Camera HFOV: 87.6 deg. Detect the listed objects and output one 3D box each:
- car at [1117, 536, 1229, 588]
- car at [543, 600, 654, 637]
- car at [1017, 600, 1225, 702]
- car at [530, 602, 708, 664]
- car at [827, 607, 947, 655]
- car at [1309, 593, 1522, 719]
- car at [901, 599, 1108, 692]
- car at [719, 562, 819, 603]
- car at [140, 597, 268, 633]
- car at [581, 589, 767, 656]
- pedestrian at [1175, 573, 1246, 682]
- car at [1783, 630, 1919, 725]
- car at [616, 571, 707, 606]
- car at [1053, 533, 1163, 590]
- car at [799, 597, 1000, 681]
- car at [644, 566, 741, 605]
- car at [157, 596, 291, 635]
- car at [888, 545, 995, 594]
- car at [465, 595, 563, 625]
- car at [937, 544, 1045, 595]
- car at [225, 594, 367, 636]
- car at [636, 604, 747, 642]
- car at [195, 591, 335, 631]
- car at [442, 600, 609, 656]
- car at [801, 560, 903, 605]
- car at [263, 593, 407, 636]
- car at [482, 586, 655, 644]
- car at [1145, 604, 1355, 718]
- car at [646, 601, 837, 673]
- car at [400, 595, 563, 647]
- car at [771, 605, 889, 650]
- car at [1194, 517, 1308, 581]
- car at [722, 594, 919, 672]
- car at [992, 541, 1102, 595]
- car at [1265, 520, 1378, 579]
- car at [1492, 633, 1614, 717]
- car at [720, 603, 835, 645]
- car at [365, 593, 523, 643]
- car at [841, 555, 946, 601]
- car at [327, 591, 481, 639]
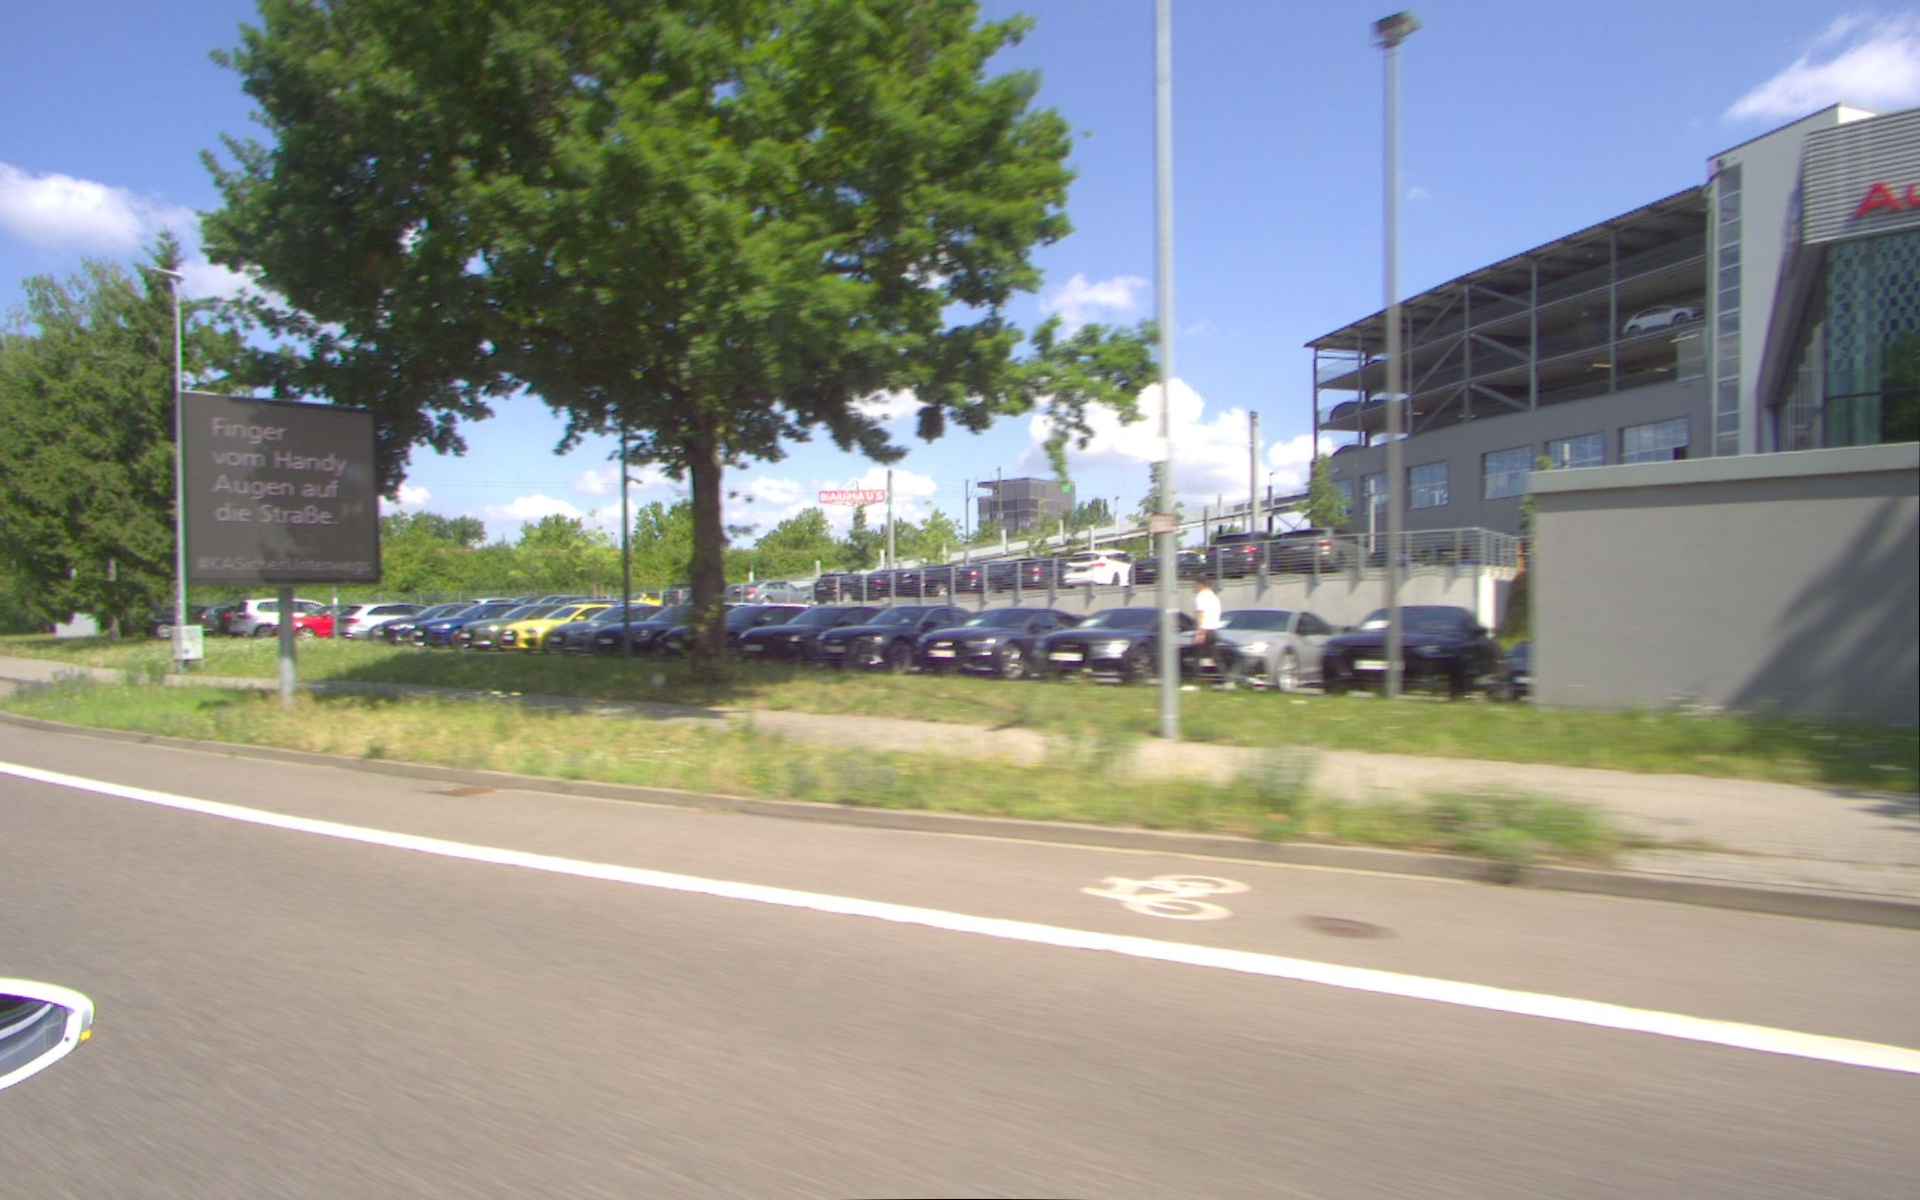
[{"bbox_3d":[7.362,-1.265,34.396,1.912,1.572,4.335,2,1,40],"label":"car"},{"bbox_3d":[-16.024,0.778,44.541,1.883,1.518,4.330,0,0,37],"label":"car"},{"bbox_3d":[2.994,0.822,17.873,1.910,1.533,4.341,2,1,36],"label":"car"},{"bbox_3d":[-9.292,0.859,27.599,1.910,1.533,4.341,2,1,36],"label":"car"},{"bbox_3d":[-2.516,1.050,35.472,1.883,1.518,4.330,0,0,37],"label":"car"},{"bbox_3d":[6.849,0.716,14.787,1.886,1.533,4.339,2,1,38],"label":"car"},{"bbox_3d":[0.974,0.793,19.341,1.910,1.533,4.341,2,1,36],"label":"car"},{"bbox_3d":[-8.901,-0.807,46.898,1.912,1.798,4.335,2,1,40],"label":"car"},{"bbox_3d":[-34.755,0.679,46.126,1.910,1.533,4.341,2,1,36],"label":"car"},{"bbox_3d":[-7.248,0.553,25.741,1.910,1.533,4.341,2,1,36],"label":"car"},{"bbox_3d":[3.546,0.377,14.183,0.762,1.479,0.631,2,1,36],"label":"pedestrian"},{"bbox_3d":[17.423,1.409,19.566,1.883,1.518,4.330,0,0,37],"label":"car"},{"bbox_3d":[-16.106,-0.612,54.179,1.912,1.798,4.335,2,1,40],"label":"car"},{"bbox_3d":[5.366,-1.332,35.922,1.912,1.798,4.335,2,1,40],"label":"car"},{"bbox_3d":[-1.154,0.759,21.080,1.910,1.533,4.341,2,1,36],"label":"car"},{"bbox_3d":[-13.243,-0.683,49.820,1.912,1.798,4.335,2,1,40],"label":"car"},{"bbox_3d":[-31.946,0.656,43.576,1.910,1.533,4.341,2,1,36],"label":"car"},{"bbox_3d":[-0.693,-1.196,40.407,1.912,1.798,4.335,2,1,40],"label":"car"},{"bbox_3d":[-23.323,0.500,52.447,1.883,1.518,4.330,0,0,37],"label":"car"},{"bbox_3d":[1.253,-1.150,39.063,1.912,1.798,4.335,2,1,40],"label":"car"},{"bbox_3d":[-26.335,0.599,39.832,1.910,1.533,4.341,2,1,36],"label":"car"},{"bbox_3d":[-11.377,0.940,42.690,1.883,1.518,4.330,0,0,37],"label":"car"},{"bbox_3d":[-28.497,0.454,41.177,1.910,1.533,4.341,2,1,36],"label":"car"},{"bbox_3d":[-13.207,0.814,30.691,1.910,1.533,4.341,2,1,36],"label":"car"},{"bbox_3d":[-4.676,-0.749,43.795,1.912,1.798,4.335,2,1,40],"label":"car"},{"bbox_3d":[-24.111,0.547,38.759,1.910,1.533,4.341,2,1,36],"label":"car"},{"bbox_3d":[-11.281,0.421,29.125,1.910,1.533,4.341,2,1,36],"label":"car"},{"bbox_3d":[4.857,0.883,16.342,1.910,1.533,4.341,2,1,36],"label":"car"},{"bbox_3d":[-5.177,0.840,24.216,1.910,1.533,4.341,2,1,36],"label":"car"},{"bbox_3d":[-15.303,0.650,32.217,1.910,1.533,4.341,2,1,36],"label":"car"},{"bbox_3d":[-4.766,0.973,37.265,1.883,1.518,4.330,0,0,37],"label":"car"},{"bbox_3d":[9.524,-1.603,32.574,1.912,1.798,4.335,2,1,40],"label":"car"},{"bbox_3d":[-3.009,0.690,22.450,1.910,1.533,4.341,2,1,36],"label":"car"},{"bbox_3d":[3.297,-1.155,37.364,1.912,1.798,4.335,2,1,40],"label":"car"},{"bbox_3d":[11.294,-1.500,31.123,1.912,1.572,4.335,2,1,40],"label":"car"},{"bbox_3d":[13.266,1.566,22.281,1.883,1.518,4.330,0,0,37],"label":"car"},{"bbox_3d":[-7.089,0.904,39.309,1.883,1.518,4.330,0,0,37],"label":"car"},{"bbox_3d":[-17.309,0.586,33.759,1.910,1.533,4.341,2,1,36],"label":"car"},{"bbox_3d":[-2.765,-0.889,42.276,1.912,1.798,4.335,2,1,40],"label":"car"},{"bbox_3d":[-19.468,0.499,35.211,1.910,1.533,4.341,2,1,36],"label":"car"}]
